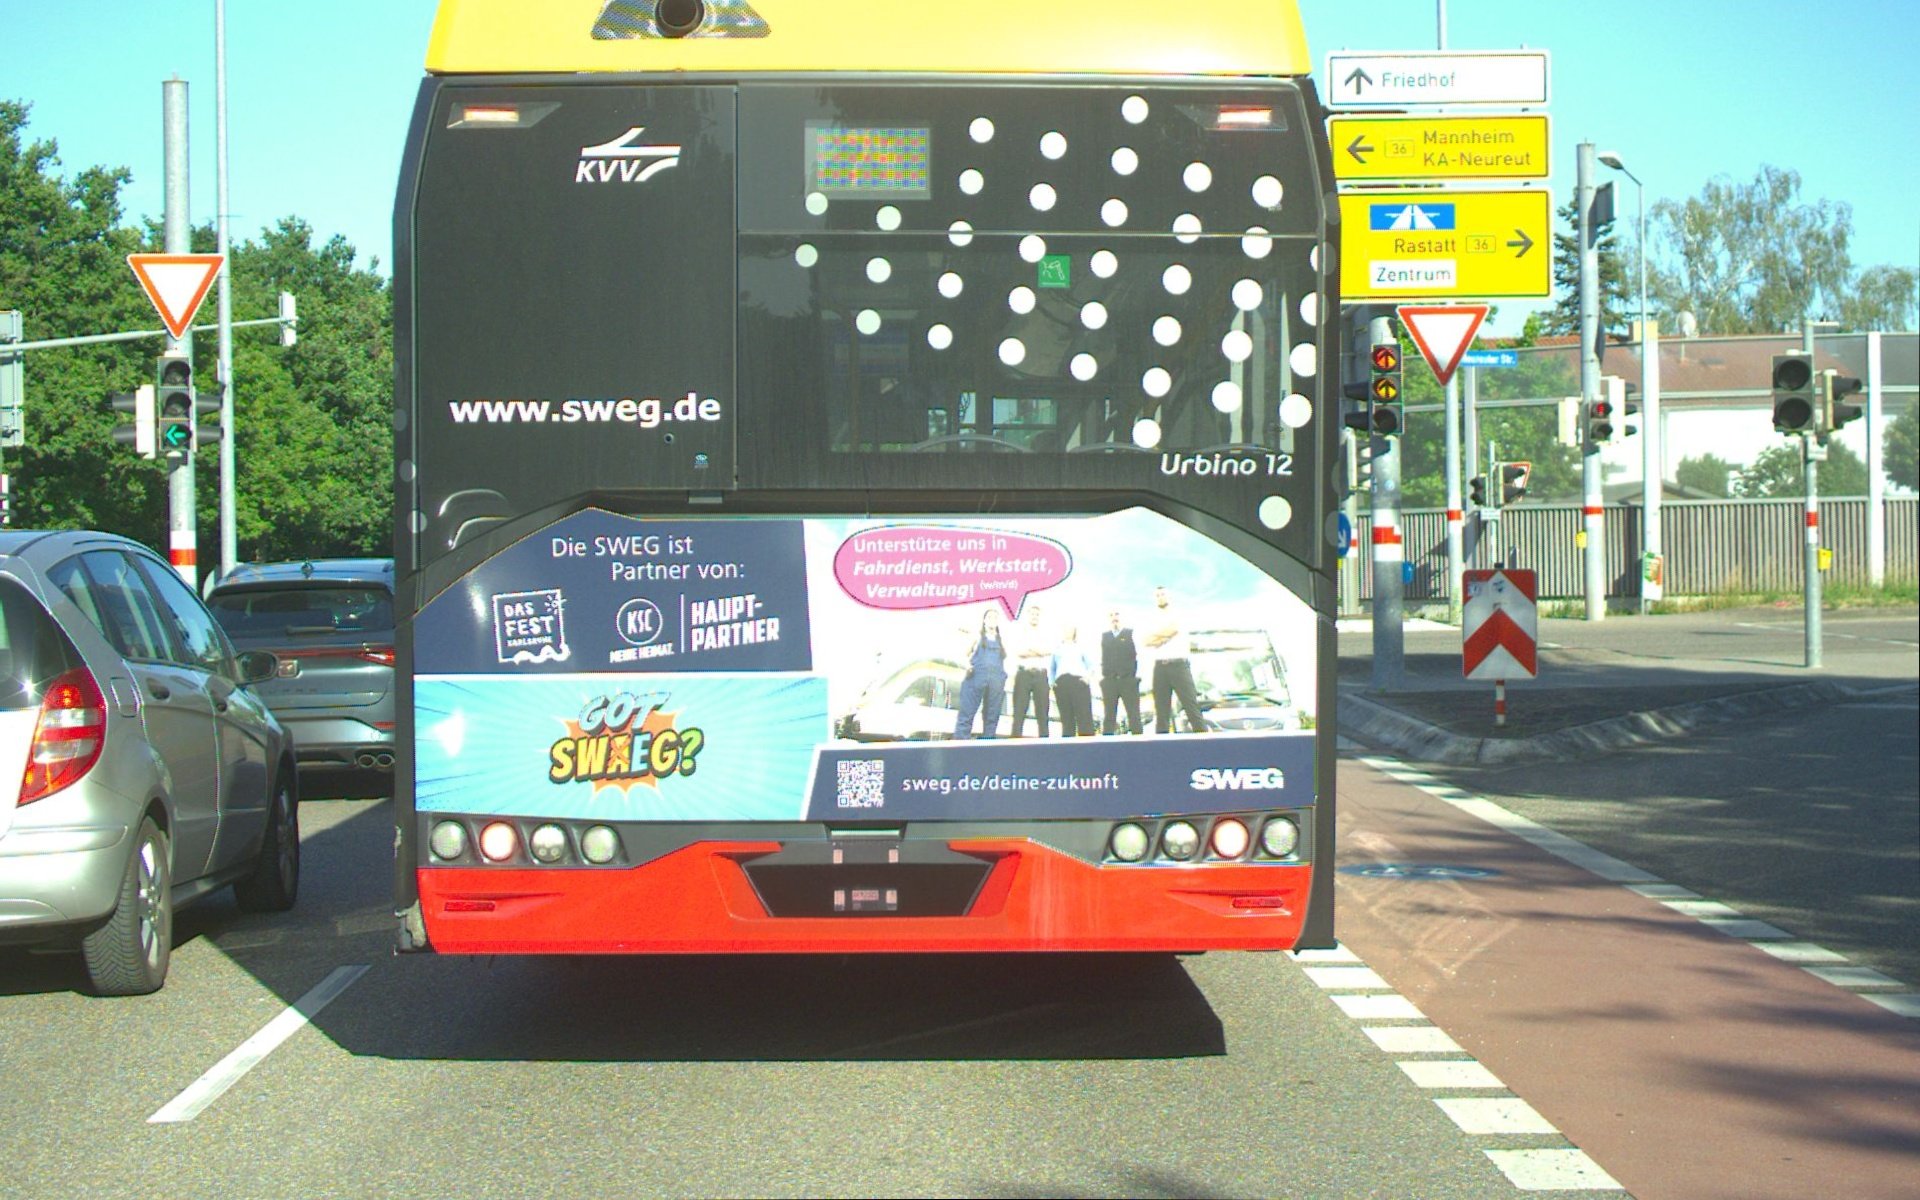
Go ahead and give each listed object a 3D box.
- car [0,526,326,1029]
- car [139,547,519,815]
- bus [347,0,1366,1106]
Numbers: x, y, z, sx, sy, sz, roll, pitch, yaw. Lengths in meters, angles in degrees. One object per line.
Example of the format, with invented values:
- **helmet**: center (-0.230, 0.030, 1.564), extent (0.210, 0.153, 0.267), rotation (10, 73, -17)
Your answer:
- **car**: center (-3.616, 0.552, 12.884), extent (1.761, 1.584, 4.000), rotation (-2, 1, -1)
- **car**: center (-3.815, 0.430, 21.361), extent (1.692, 1.453, 3.751), rotation (-2, 1, -1)
- **bus**: center (-0.291, -0.399, 14.890), extent (2.642, 3.156, 11.861), rotation (0, 1, 0)
